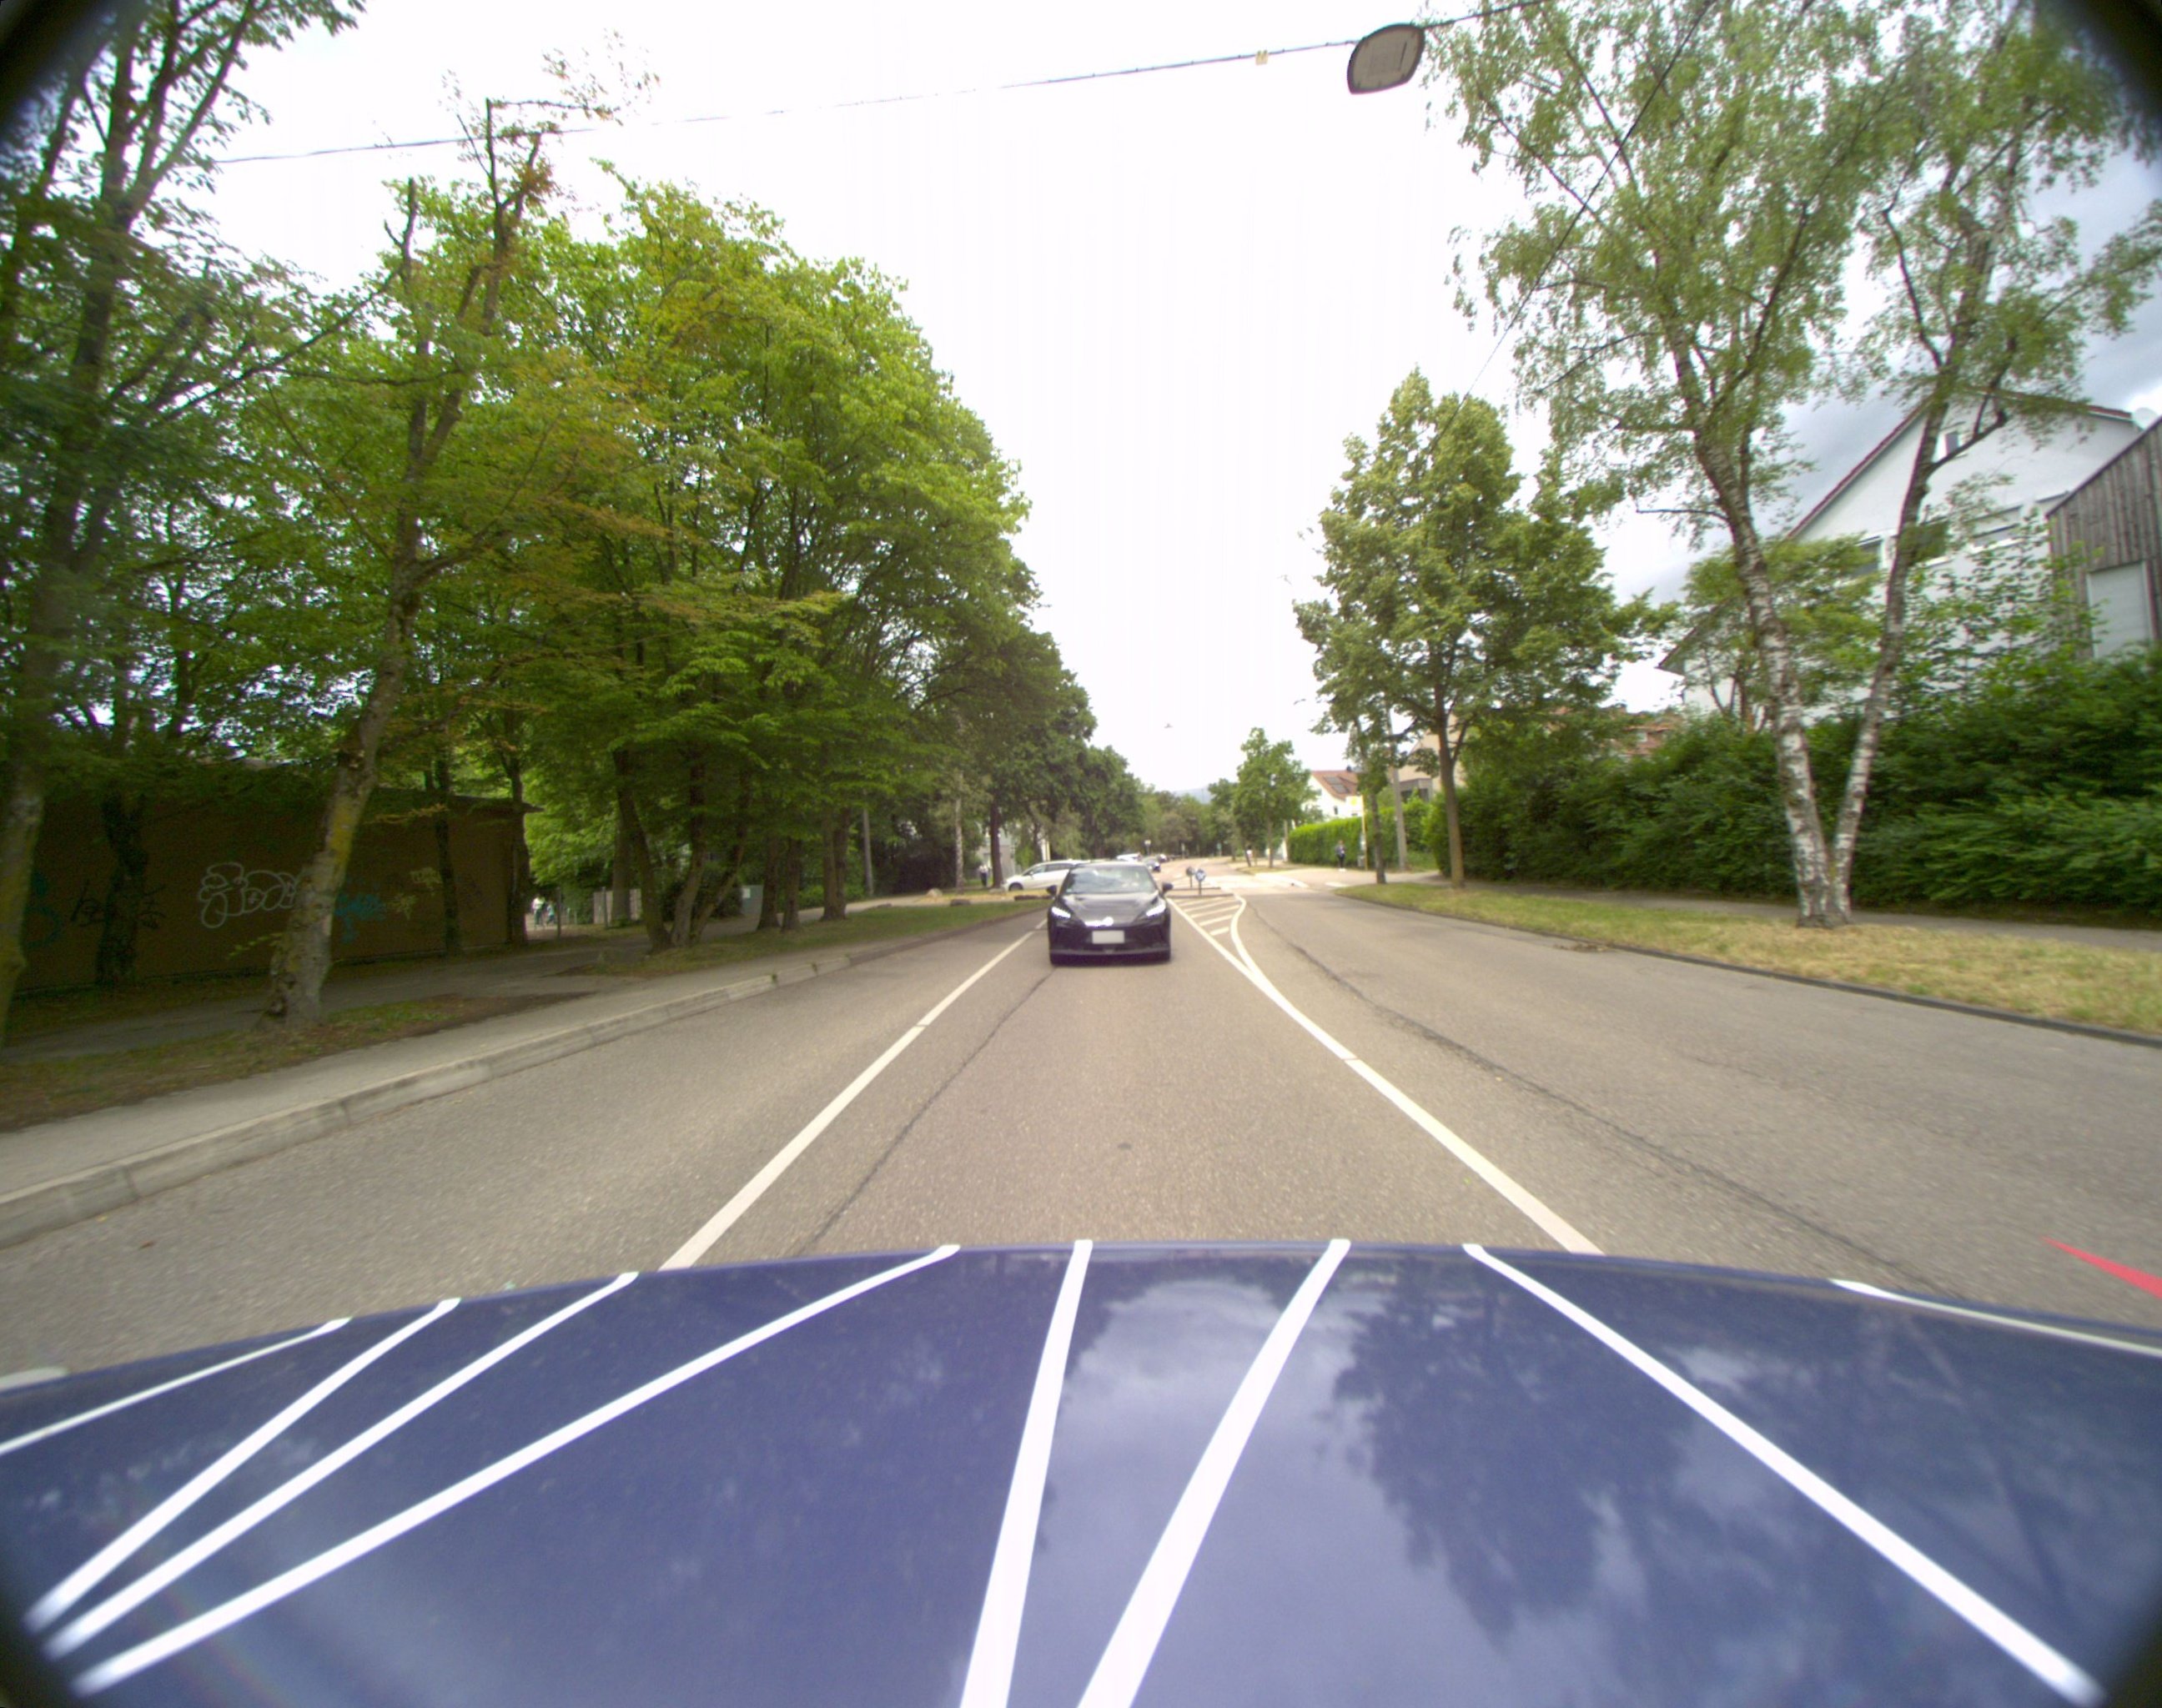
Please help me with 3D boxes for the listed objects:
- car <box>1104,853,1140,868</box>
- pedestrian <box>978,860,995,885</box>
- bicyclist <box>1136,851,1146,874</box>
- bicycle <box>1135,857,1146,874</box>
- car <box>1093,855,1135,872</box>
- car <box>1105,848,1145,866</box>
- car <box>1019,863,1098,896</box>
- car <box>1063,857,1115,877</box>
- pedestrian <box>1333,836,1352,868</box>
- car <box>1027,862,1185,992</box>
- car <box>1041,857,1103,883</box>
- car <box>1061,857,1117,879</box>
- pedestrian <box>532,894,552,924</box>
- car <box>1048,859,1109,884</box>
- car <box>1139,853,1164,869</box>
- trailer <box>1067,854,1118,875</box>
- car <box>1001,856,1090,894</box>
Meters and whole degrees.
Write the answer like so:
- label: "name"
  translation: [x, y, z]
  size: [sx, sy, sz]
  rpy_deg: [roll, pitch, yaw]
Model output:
- label: "car"
  translation: [4.667, 0.790, 87.201]
  size: [3.856, 1.430, 1.715]
  rpy_deg: [-4, 0, -4]
- label: "pedestrian"
  translation: [-6.356, 1.260, 51.221]
  size: [0.692, 1.634, 0.779]
  rpy_deg: [-3, 0, 29]
- label: "bicyclist"
  translation: [4.675, 0.630, 59.665]
  size: [0.647, 1.768, 0.628]
  rpy_deg: [-2, 1, -1]
- label: "bicycle"
  translation: [4.677, 0.890, 59.585]
  size: [0.647, 1.230, 1.877]
  rpy_deg: [-3, 0, -1]
- label: "car"
  translation: [3.325, 0.932, 76.814]
  size: [3.857, 1.426, 1.713]
  rpy_deg: [-4, 1, -15]
- label: "car"
  translation: [5.245, 0.374, 90.318]
  size: [4.223, 1.748, 1.857]
  rpy_deg: [-4, 0, -14]
- label: "car"
  translation: [-1.271, 1.412, 42.670]
  size: [4.146, 1.455, 1.797]
  rpy_deg: [-4, 0, -9]
- label: "car"
  translation: [0.673, 1.121, 65.547]
  size: [4.002, 1.455, 1.789]
  rpy_deg: [-4, 0, -18]
- label: "pedestrian"
  translation: [14.407, -0.095, 41.912]
  size: [0.693, 1.701, 0.778]
  rpy_deg: [-3, 0, 1]
- label: "car"
  translation: [0.554, 0.950, 11.379]
  size: [1.812, 1.484, 3.795]
  rpy_deg: [-3, 1, 9]
- label: "car"
  translation: [-0.650, 1.083, 52.651]
  size: [4.000, 1.455, 1.864]
  rpy_deg: [-4, 0, -10]
- label: "car"
  translation: [0.646, 1.137, 60.677]
  size: [4.003, 1.455, 1.848]
  rpy_deg: [-4, 0, -20]
- label: "pedestrian"
  translation: [-19.347, 1.968, 27.263]
  size: [0.399, 1.023, 0.401]
  rpy_deg: [-2, 1, 28]
- label: "car"
  translation: [-0.186, 1.260, 55.427]
  size: [4.001, 1.455, 1.794]
  rpy_deg: [-4, 0, -15]
- label: "car"
  translation: [6.509, 0.631, 69.956]
  size: [1.859, 1.366, 4.079]
  rpy_deg: [-3, 0, 11]
- label: "trailer"
  translation: [0.914, 0.876, 63.496]
  size: [4.000, 1.543, 1.658]
  rpy_deg: [-3, 0, -8]
- label: "car"
  translation: [-1.843, 1.085, 39.914]
  size: [4.480, 1.576, 1.906]
  rpy_deg: [-4, 0, -2]
